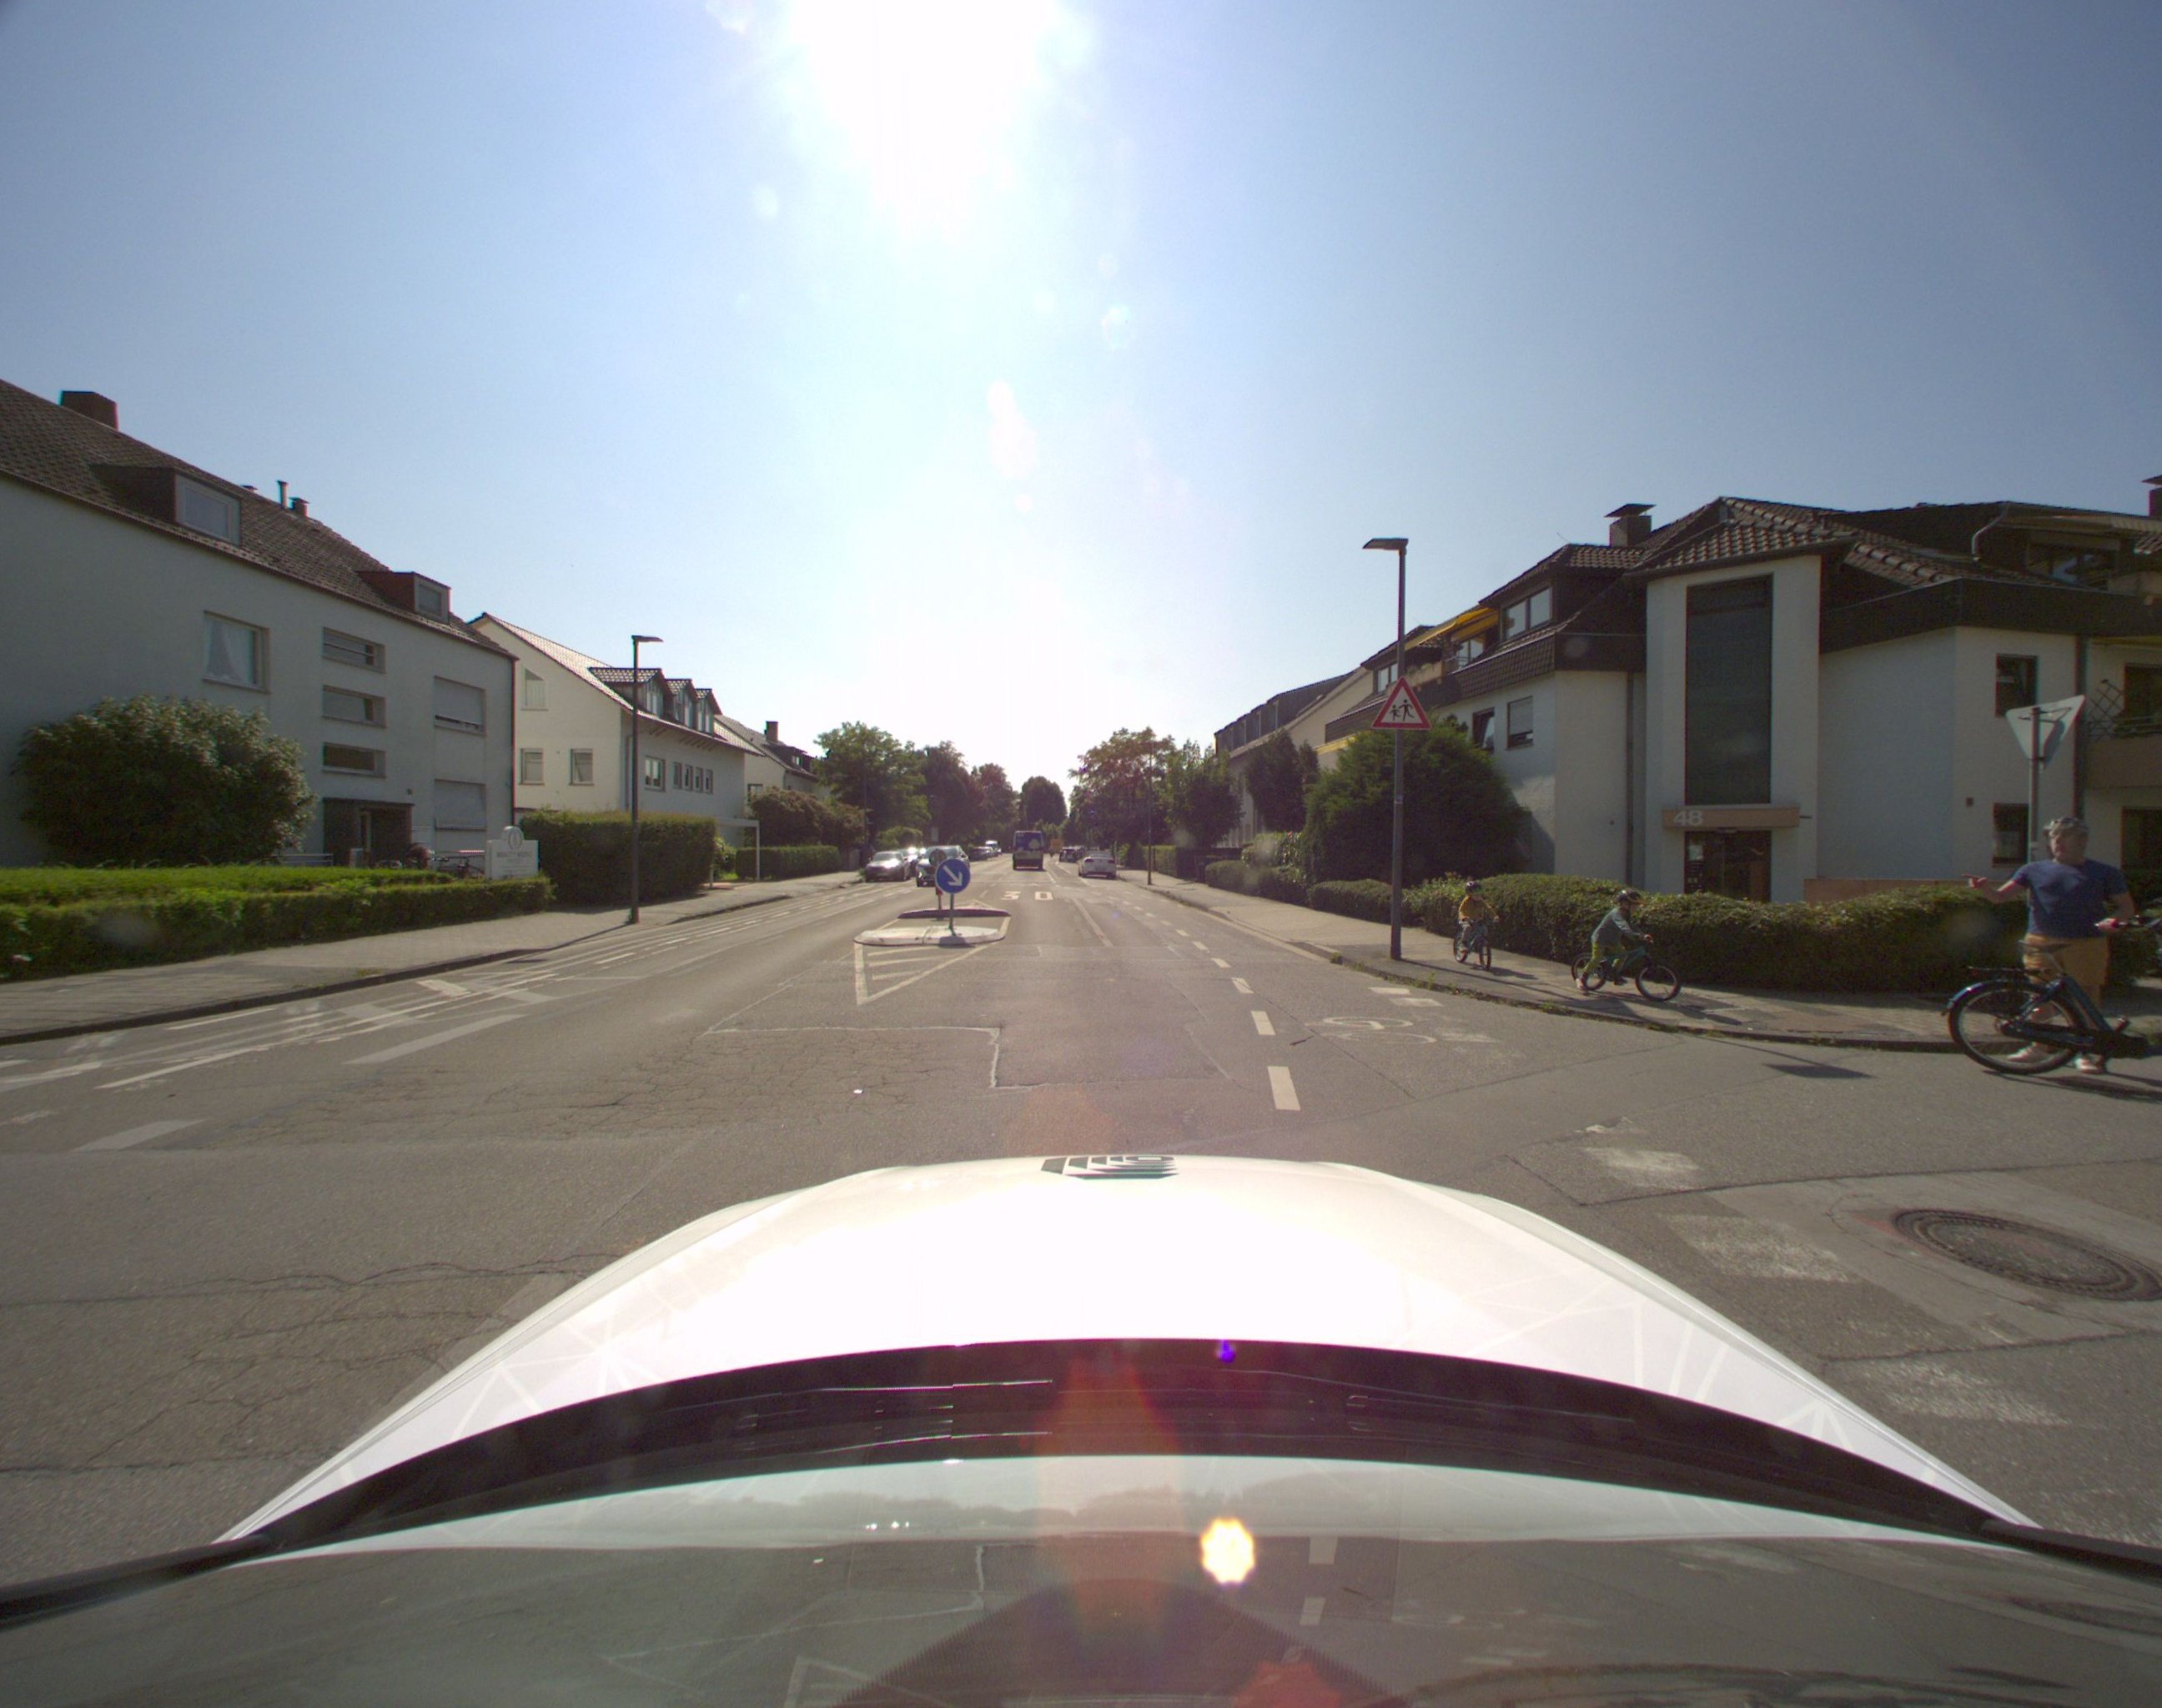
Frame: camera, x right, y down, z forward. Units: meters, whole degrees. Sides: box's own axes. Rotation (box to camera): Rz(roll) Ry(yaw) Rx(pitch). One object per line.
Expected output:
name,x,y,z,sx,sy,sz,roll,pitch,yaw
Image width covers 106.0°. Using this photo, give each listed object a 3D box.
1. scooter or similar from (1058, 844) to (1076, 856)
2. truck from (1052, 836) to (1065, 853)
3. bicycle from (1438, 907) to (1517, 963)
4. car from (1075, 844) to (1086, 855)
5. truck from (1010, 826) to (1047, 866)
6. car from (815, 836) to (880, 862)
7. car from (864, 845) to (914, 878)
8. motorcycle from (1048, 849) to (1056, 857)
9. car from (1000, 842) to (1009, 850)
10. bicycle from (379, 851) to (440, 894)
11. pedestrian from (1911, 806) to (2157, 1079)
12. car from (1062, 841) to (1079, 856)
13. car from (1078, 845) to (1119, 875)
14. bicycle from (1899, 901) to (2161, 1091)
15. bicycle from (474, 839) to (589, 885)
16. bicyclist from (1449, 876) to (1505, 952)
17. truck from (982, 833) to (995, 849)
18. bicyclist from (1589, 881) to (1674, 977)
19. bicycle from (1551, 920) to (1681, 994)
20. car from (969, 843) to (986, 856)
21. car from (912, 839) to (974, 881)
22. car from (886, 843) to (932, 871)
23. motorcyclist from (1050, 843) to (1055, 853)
scooter or similar,-1.507,-0.400,87.951,1.775,1.154,0.724,5,1,41
truck,-4.111,-1.752,149.723,2.208,2.946,5.683,0,0,-1
bicycle,5.131,1.035,10.599,0.400,0.599,1.149,0,1,-4
car,-0.095,-0.649,124.715,1.695,1.677,3.774,0,1,0
truck,-3.659,-0.542,55.717,2.270,2.571,4.381,0,0,-7
car,-16.322,-0.366,57.082,3.978,1.759,1.998,1,1,-3
car,-9.071,0.299,38.827,1.783,1.440,4.146,-1,1,-6
motorcycle,-4.086,-0.171,115.540,1.054,1.122,2.989,0,0,-3
car,-14.302,-1.504,152.380,1.751,1.343,3.648,0,1,-5
bicycle,-14.582,0.393,17.717,0.333,0.874,1.365,5,0,-9
pedestrian,7.370,0.602,6.327,0.905,1.872,1.176,0,0,-36
car,-1.174,-0.653,90.673,1.781,1.638,4.465,0,1,-3
car,0.852,0.275,42.874,1.737,1.402,4.068,3,0,-4
bicycle,7.575,0.974,5.555,2.677,1.158,0.869,1,0,29
bicycle,-14.307,0.187,21.274,2.449,1.105,0.532,0,6,-35
bicyclist,5.114,0.759,10.528,0.398,0.933,0.608,0,0,-5
truck,-14.973,-2.063,131.645,2.078,2.537,5.456,0,1,-6
bicyclist,5.715,0.761,8.482,0.401,0.929,0.656,0,0,-7
bicycle,5.620,1.062,8.611,0.402,0.599,1.167,0,1,-17
car,-12.216,-0.492,96.388,1.777,1.460,4.080,1,1,-4
car,-5.848,0.220,35.033,1.909,1.666,4.504,-1,1,-1
car,-9.488,0.130,45.219,1.780,1.440,4.108,-1,1,-2
motorcyclist,-4.057,-0.851,115.247,0.670,1.518,0.651,0,0,-3
